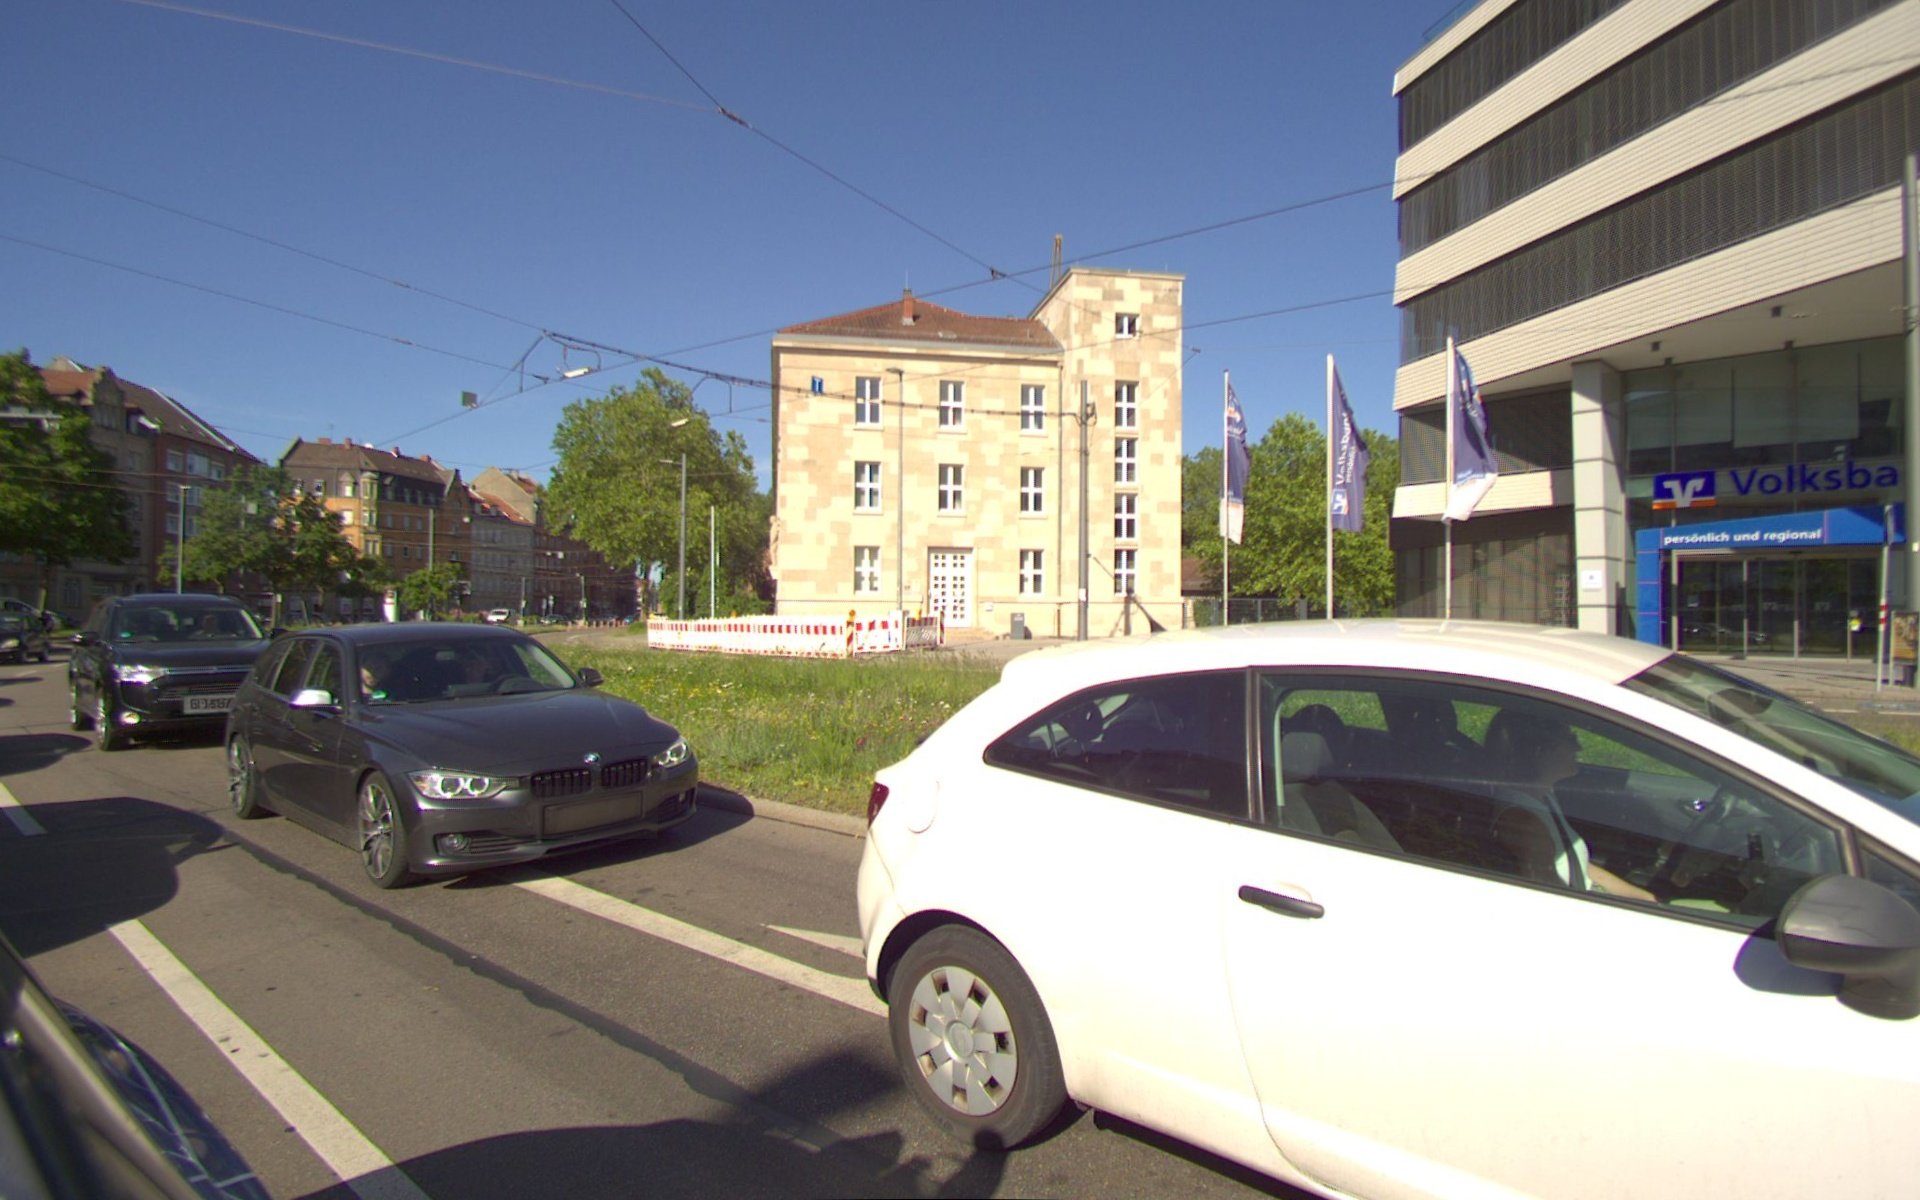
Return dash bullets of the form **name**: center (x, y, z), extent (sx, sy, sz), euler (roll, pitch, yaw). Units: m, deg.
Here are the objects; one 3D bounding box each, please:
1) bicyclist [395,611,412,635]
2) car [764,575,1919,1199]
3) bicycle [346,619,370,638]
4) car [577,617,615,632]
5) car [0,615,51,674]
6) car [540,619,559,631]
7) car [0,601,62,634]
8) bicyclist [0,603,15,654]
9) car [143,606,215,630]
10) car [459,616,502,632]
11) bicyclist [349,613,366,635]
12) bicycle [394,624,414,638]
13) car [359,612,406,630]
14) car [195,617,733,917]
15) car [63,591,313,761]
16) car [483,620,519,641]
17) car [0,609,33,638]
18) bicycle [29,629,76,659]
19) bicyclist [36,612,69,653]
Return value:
- **bicyclist**: center (-47.482, 1.935, 86.364), extent (0.836, 2.029, 1.198), euler (0, -1, -8)
- **car**: center (1.487, 0.695, 2.485), extent (4.020, 1.452, 1.714), euler (0, 2, 40)
- **bicycle**: center (-45.170, 2.112, 75.945), extent (0.726, 1.371, 2.078), euler (0, -1, -6)
- **car**: center (-42.807, 2.918, 119.092), extent (4.001, 1.669, 1.772), euler (1, -1, -16)
- **car**: center (-29.040, 1.304, 30.516), extent (1.810, 1.659, 4.159), euler (2, -1, -34)
- **car**: center (-50.064, 3.036, 123.558), extent (1.809, 1.483, 4.728), euler (1, -1, -19)
- **car**: center (-49.922, 0.893, 52.798), extent (4.514, 1.680, 1.601), euler (2, -2, -43)
- **bicyclist**: center (-35.893, 1.069, 37.674), extent (0.796, 1.880, 0.752), euler (1, 0, -23)
- **car**: center (-53.922, 1.275, 69.880), extent (3.771, 1.603, 1.601), euler (2, -2, -44)
- **car**: center (-54.807, 2.733, 115.775), extent (4.010, 1.669, 1.767), euler (1, -1, -2)
- **bicyclist**: center (-45.196, 1.797, 75.920), extent (0.724, 1.707, 0.972), euler (0, -1, -6)
- **bicycle**: center (-47.432, 2.636, 86.352), extent (0.752, 1.153, 2.287), euler (0, -1, -9)
- **car**: center (-66.094, 2.405, 115.821), extent (4.276, 1.896, 1.846), euler (1, -1, -15)
- **car**: center (-3.592, 0.828, 6.884), extent (4.424, 1.377, 1.719), euler (-1, 0, 41)
- **car**: center (-9.374, 0.774, 12.135), extent (1.817, 1.658, 4.400), euler (-1, -1, -45)
- **car**: center (-46.991, 3.103, 103.690), extent (1.953, 2.101, 4.719), euler (1, -1, -5)
- **car**: center (-48.757, 1.154, 50.392), extent (3.768, 1.390, 1.602), euler (2, -2, -41)
- **bicycle**: center (-37.143, 1.786, 41.431), extent (0.627, 1.206, 2.161), euler (0, -1, -19)
- **bicyclist**: center (-37.131, 1.332, 41.410), extent (0.620, 1.641, 0.974), euler (0, -1, -18)
